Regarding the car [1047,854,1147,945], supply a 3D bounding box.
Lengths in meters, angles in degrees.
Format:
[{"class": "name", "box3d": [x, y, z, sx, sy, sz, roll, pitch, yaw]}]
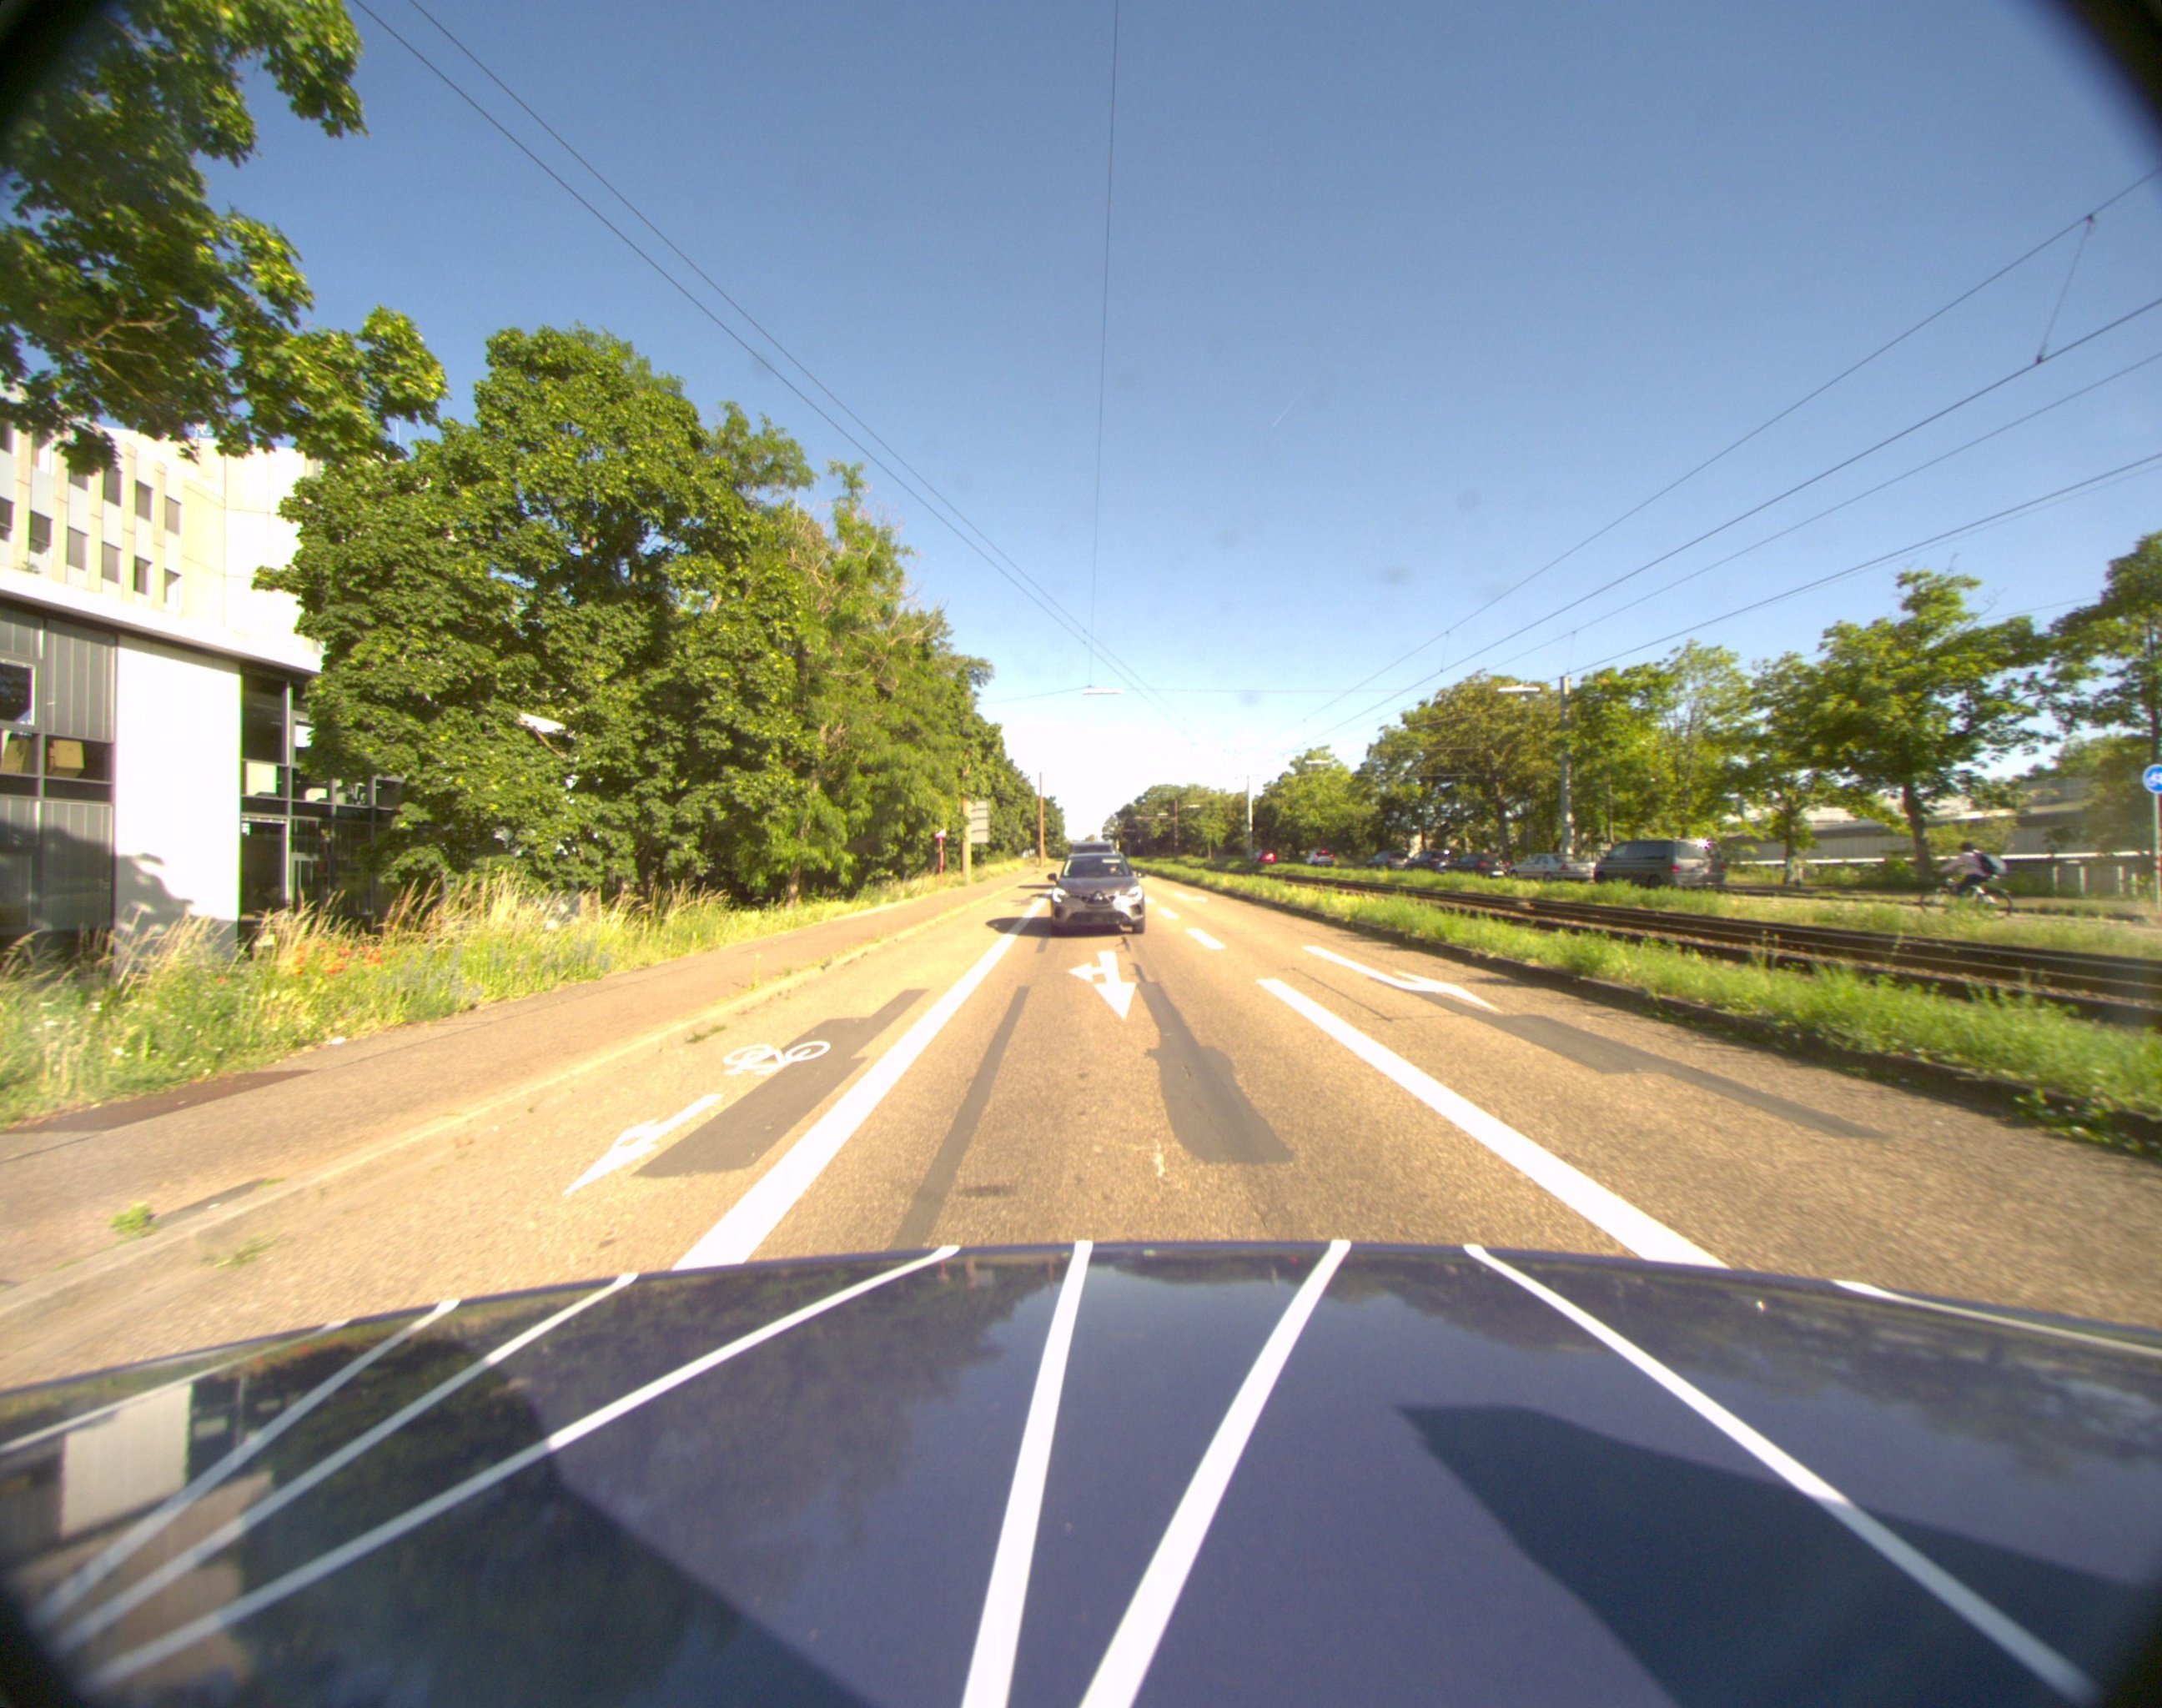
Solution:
[{"class": "car", "box3d": [0.239, 0.829, 15.975, 1.796, 1.583, 4.529, -1, 1, -1]}]

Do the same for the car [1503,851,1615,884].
[{"class": "car", "box3d": [21.698, 0.596, 34.730, 2.130, 1.372, 4.616, -1, 0, -1]}]

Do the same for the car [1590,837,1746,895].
[{"class": "car", "box3d": [21.390, 0.412, 28.020, 2.207, 1.923, 4.685, -1, 0, 2]}]

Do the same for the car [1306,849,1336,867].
[{"class": "car", "box3d": [21.352, 0.344, 67.796, 1.858, 1.548, 4.159, -1, 0, 9]}]

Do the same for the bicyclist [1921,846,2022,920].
[{"class": "bicyclist", "box3d": [19.812, 0.622, 16.947, 0.804, 1.584, 1.236, -1, 0, 1]}]

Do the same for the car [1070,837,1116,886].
[{"class": "car", "box3d": [0.511, 0.378, 36.531, 1.999, 2.198, 4.786, 0, -1, -1]}]

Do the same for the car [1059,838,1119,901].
[{"class": "car", "box3d": [0.283, 0.536, 27.829, 1.998, 2.113, 4.000, -1, 0, 1]}]

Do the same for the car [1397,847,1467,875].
[{"class": "car", "box3d": [21.432, 0.407, 46.619, 2.130, 1.578, 4.616, -1, 0, 1]}]

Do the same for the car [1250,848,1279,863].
[{"class": "car", "box3d": [21.030, 0.167, 87.258, 2.321, 1.723, 4.798, -1, 0, 3]}]

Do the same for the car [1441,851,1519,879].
[{"class": "car", "box3d": [21.482, 0.565, 41.123, 1.960, 1.417, 4.488, -1, 0, 1]}]

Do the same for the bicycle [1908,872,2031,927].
[{"class": "bicycle", "box3d": [19.824, 0.986, 17.009, 0.698, 1.096, 1.781, -1, 0, 1]}]

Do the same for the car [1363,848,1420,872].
[{"class": "car", "box3d": [21.675, 0.381, 53.202, 2.130, 1.554, 4.560, -1, 0, 0]}]
